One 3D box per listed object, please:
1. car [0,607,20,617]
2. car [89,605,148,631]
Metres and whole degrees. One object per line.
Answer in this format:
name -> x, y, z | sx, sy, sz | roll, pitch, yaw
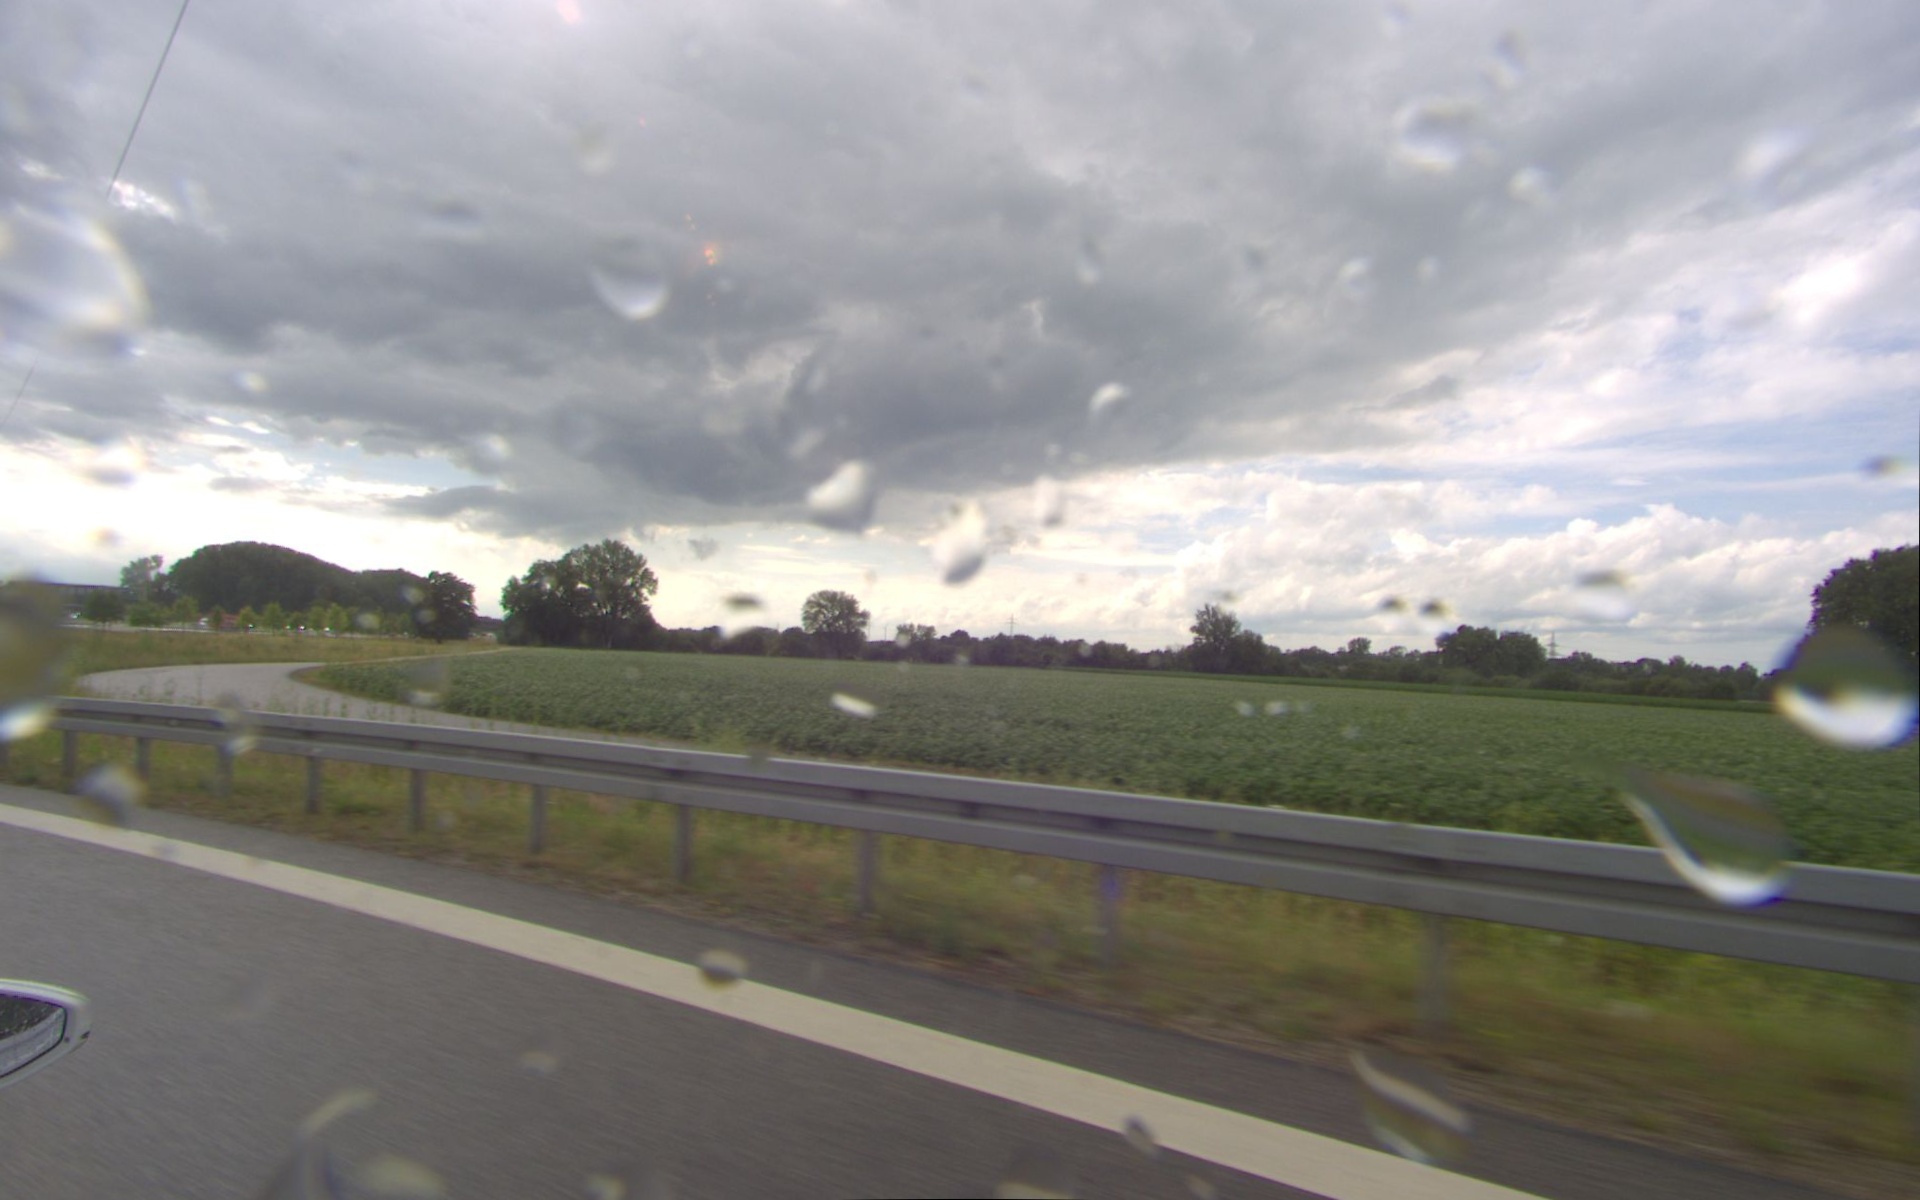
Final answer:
car -> -163.478, 2.091, 171.456 | 1.966, 1.623, 3.993 | 4, -2, -17
car -> -135.687, 2.929, 161.609 | 3.333, 3.654, 9.040 | 3, -4, -14
